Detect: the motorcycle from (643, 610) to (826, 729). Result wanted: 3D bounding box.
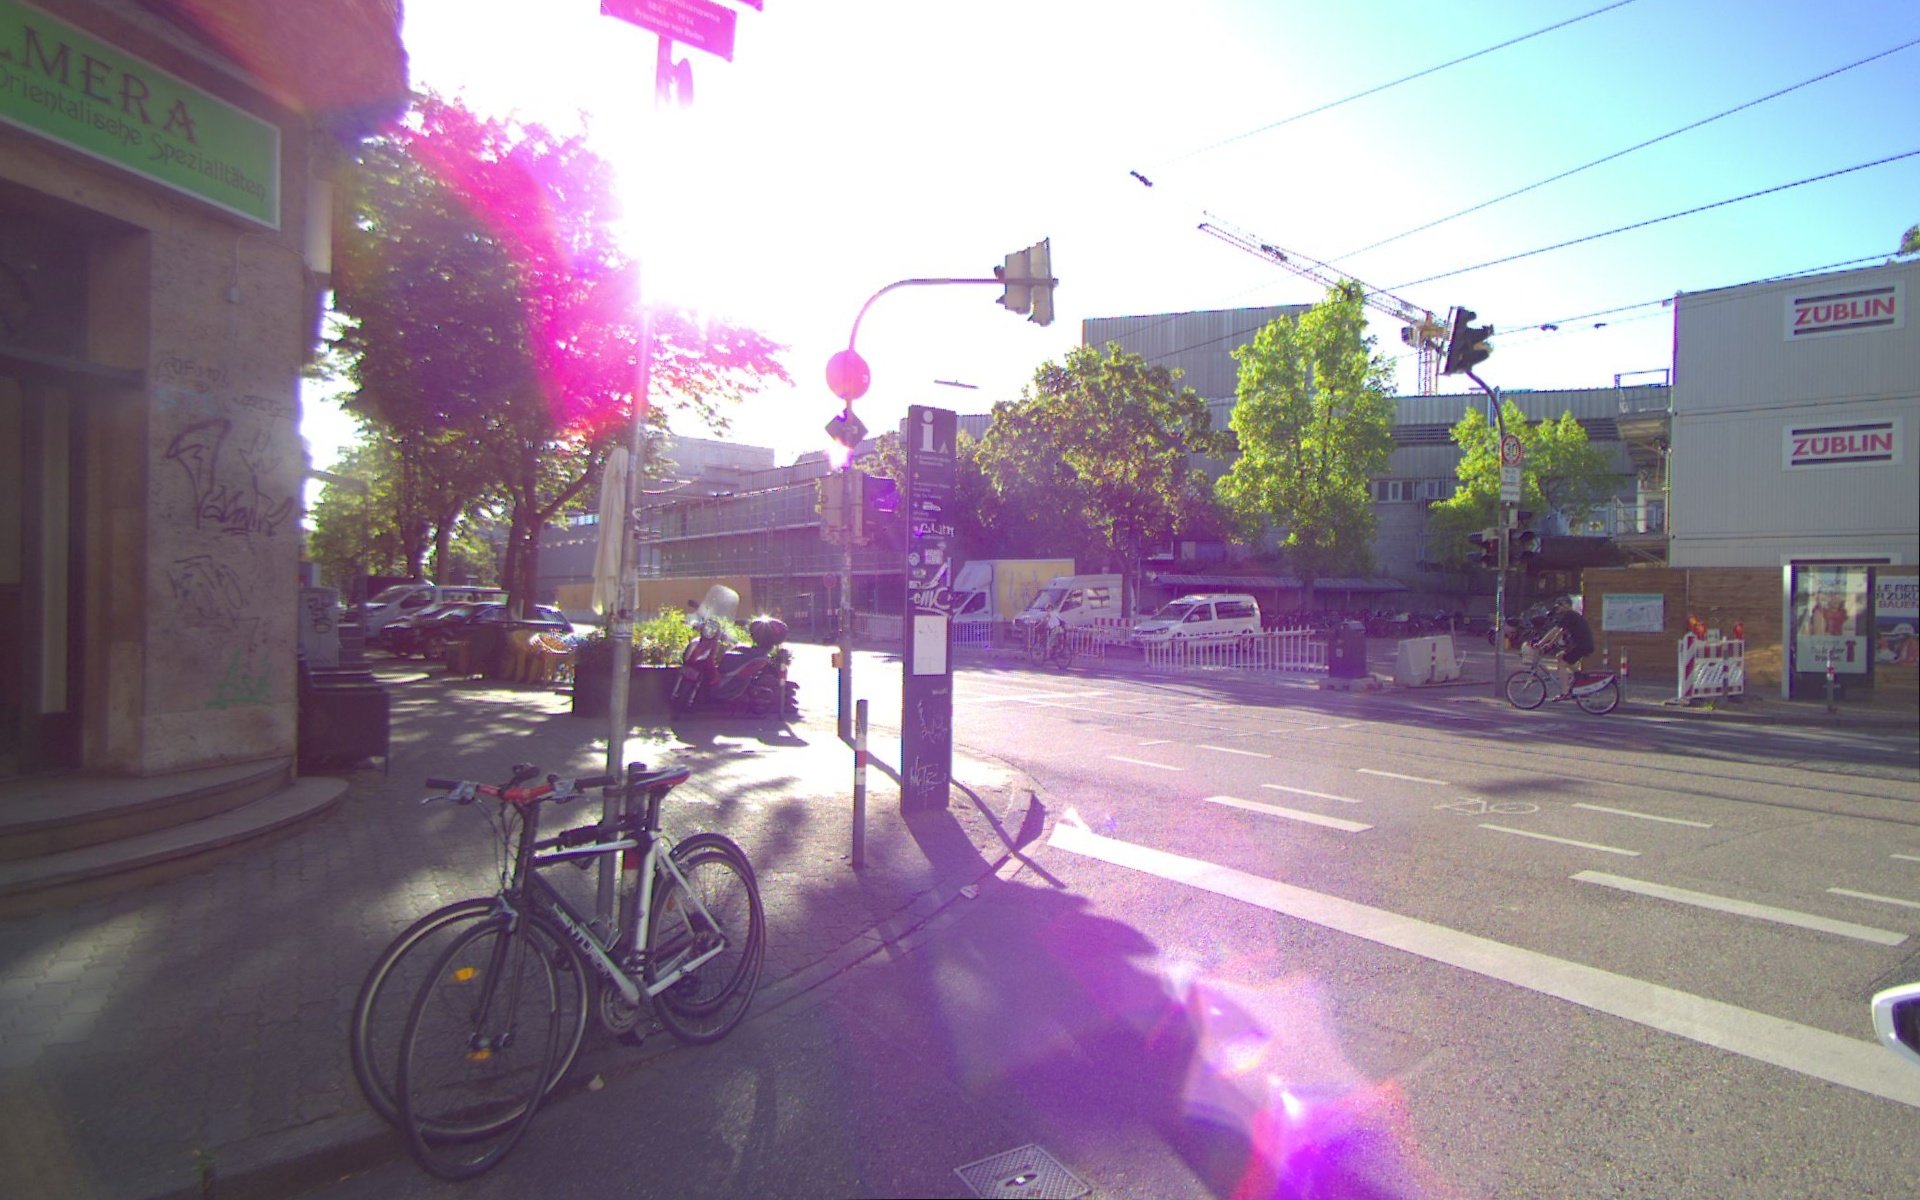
[{"bbox_3d":[-2.827,0.868,12.959,0.982,1.368,2.419,0,-3,26],"label":"motorcycle"}]

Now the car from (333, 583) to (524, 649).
[{"bbox_3d":[-17.457,0.493,33.293,2.003,2.018,5.334,1,0,32],"label":"car"}]

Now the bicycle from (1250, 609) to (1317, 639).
[{"bbox_3d":[13.361,0.956,41.585,0.810,1.163,3.070,0,0,-24],"label":"bicycle"}]

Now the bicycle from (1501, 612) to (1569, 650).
[{"bbox_3d":[20.099,1.064,35.144,2.009,1.274,0.543,0,1,19],"label":"bicycle"}]

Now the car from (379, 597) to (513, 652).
[{"bbox_3d":[-15.949,0.723,31.266,1.659,1.523,3.317,4,2,31],"label":"car"}]

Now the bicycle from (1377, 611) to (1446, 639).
[{"bbox_3d":[20.161,1.094,44.959,0.810,1.163,3.070,0,0,-24],"label":"bicycle"}]

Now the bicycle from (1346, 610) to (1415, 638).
[{"bbox_3d":[18.475,1.043,44.206,0.810,1.163,3.070,0,0,-24],"label":"bicycle"}]

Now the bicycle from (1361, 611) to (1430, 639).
[{"bbox_3d":[19.290,1.067,44.548,0.810,1.163,3.070,0,0,-24],"label":"bicycle"}]

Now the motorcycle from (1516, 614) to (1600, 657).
[{"bbox_3d":[18.501,1.097,31.113,2.168,1.274,0.543,0,1,19],"label":"motorcycle"}]

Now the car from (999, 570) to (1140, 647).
[{"bbox_3d":[4.205,0.247,37.950,5.329,2.565,1.979,-3,2,-37],"label":"car"}]

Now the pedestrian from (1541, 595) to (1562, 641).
[{"bbox_3d":[26.476,0.781,44.953,0.789,2.040,1.028,0,0,32],"label":"pedestrian"}]

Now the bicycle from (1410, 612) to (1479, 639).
[{"bbox_3d":[22.071,1.151,45.852,0.810,1.163,3.070,0,0,-24],"label":"bicycle"}]

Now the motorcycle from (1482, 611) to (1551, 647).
[{"bbox_3d":[20.434,1.043,36.917,2.168,1.274,0.543,0,1,19],"label":"motorcycle"}]

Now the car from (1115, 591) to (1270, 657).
[{"bbox_3d":[7.644,0.710,32.966,4.886,1.918,1.995,-2,2,-29],"label":"car"}]

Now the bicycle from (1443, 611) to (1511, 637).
[{"bbox_3d":[24.758,1.126,48.179,0.810,1.163,3.070,0,0,-24],"label":"bicycle"}]

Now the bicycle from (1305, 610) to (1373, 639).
[{"bbox_3d":[16.187,1.040,43.033,0.810,1.163,3.070,0,0,-24],"label":"bicycle"}]

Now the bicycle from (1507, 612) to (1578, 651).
[{"bbox_3d":[19.714,1.046,34.011,2.009,1.274,0.543,0,1,19],"label":"bicycle"}]

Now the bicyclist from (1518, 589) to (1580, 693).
[{"bbox_3d":[9.856,0.671,16.803,0.799,1.680,0.679,0,0,39],"label":"bicyclist"}]

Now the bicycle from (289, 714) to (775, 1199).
[{"bbox_3d":[-1.273,1.008,3.370,0.442,1.060,1.663,1,0,22],"label":"bicycle"}]

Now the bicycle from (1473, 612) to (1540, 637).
[{"bbox_3d":[27.120,1.195,49.903,0.810,1.163,3.070,0,0,-24],"label":"bicycle"}]

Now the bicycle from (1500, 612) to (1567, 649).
[{"bbox_3d":[20.348,1.062,35.685,2.009,1.274,0.543,0,1,19],"label":"bicycle"}]

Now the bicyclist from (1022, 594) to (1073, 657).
[{"bbox_3d":[2.379,0.677,27.339,0.886,1.661,1.090,2,-1,-33],"label":"bicyclist"}]

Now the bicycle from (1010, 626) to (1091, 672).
[{"bbox_3d":[2.422,1.313,27.242,0.886,1.107,2.408,2,-1,-33],"label":"bicycle"}]

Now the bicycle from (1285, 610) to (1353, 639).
[{"bbox_3d":[15.205,1.011,42.630,0.810,1.163,3.070,0,0,-24],"label":"bicycle"}]

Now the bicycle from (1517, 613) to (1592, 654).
[{"bbox_3d":[18.977,1.056,32.103,2.009,1.274,0.471,0,1,19],"label":"bicycle"}]

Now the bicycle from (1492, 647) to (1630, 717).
[{"bbox_3d":[9.969,1.338,16.707,1.892,1.032,0.679,0,0,39],"label":"bicycle"}]

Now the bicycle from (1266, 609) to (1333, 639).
[{"bbox_3d":[14.190,0.981,42.120,0.810,1.163,3.070,0,0,-24],"label":"bicycle"}]

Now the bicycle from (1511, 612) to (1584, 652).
[{"bbox_3d":[19.298,1.035,33.032,2.009,1.274,0.471,0,1,19],"label":"bicycle"}]

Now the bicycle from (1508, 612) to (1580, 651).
[{"bbox_3d":[19.463,1.039,33.517,2.009,1.274,0.471,0,1,19],"label":"bicycle"}]

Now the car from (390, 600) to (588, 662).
[{"bbox_3d":[-12.497,0.792,26.944,1.660,1.510,4.632,0,-1,33],"label":"car"}]

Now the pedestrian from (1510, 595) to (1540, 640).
[{"bbox_3d":[25.558,0.779,45.433,0.925,2.040,0.798,0,0,-23],"label":"pedestrian"}]

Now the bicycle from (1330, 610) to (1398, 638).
[{"bbox_3d":[17.558,1.016,43.750,0.810,1.163,3.070,0,0,-24],"label":"bicycle"}]

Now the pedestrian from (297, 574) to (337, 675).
[{"bbox_3d":[-10.851,0.402,16.941,0.534,1.665,0.564,0,1,-36],"label":"pedestrian"}]

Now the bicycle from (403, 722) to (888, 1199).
[{"bbox_3d":[-0.806,1.037,3.119,0.449,1.060,1.687,1,2,22],"label":"bicycle"}]

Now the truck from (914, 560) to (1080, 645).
[{"bbox_3d":[1.674,0.017,43.027,7.045,3.393,2.368,-1,1,-34],"label":"truck"}]

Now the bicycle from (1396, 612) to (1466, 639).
[{"bbox_3d":[21.260,1.127,45.405,0.810,1.163,3.070,0,0,-24],"label":"bicycle"}]

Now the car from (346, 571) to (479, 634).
[{"bbox_3d":[-25.750,0.168,47.328,5.151,2.611,2.222,4,-3,-37],"label":"car"}]
